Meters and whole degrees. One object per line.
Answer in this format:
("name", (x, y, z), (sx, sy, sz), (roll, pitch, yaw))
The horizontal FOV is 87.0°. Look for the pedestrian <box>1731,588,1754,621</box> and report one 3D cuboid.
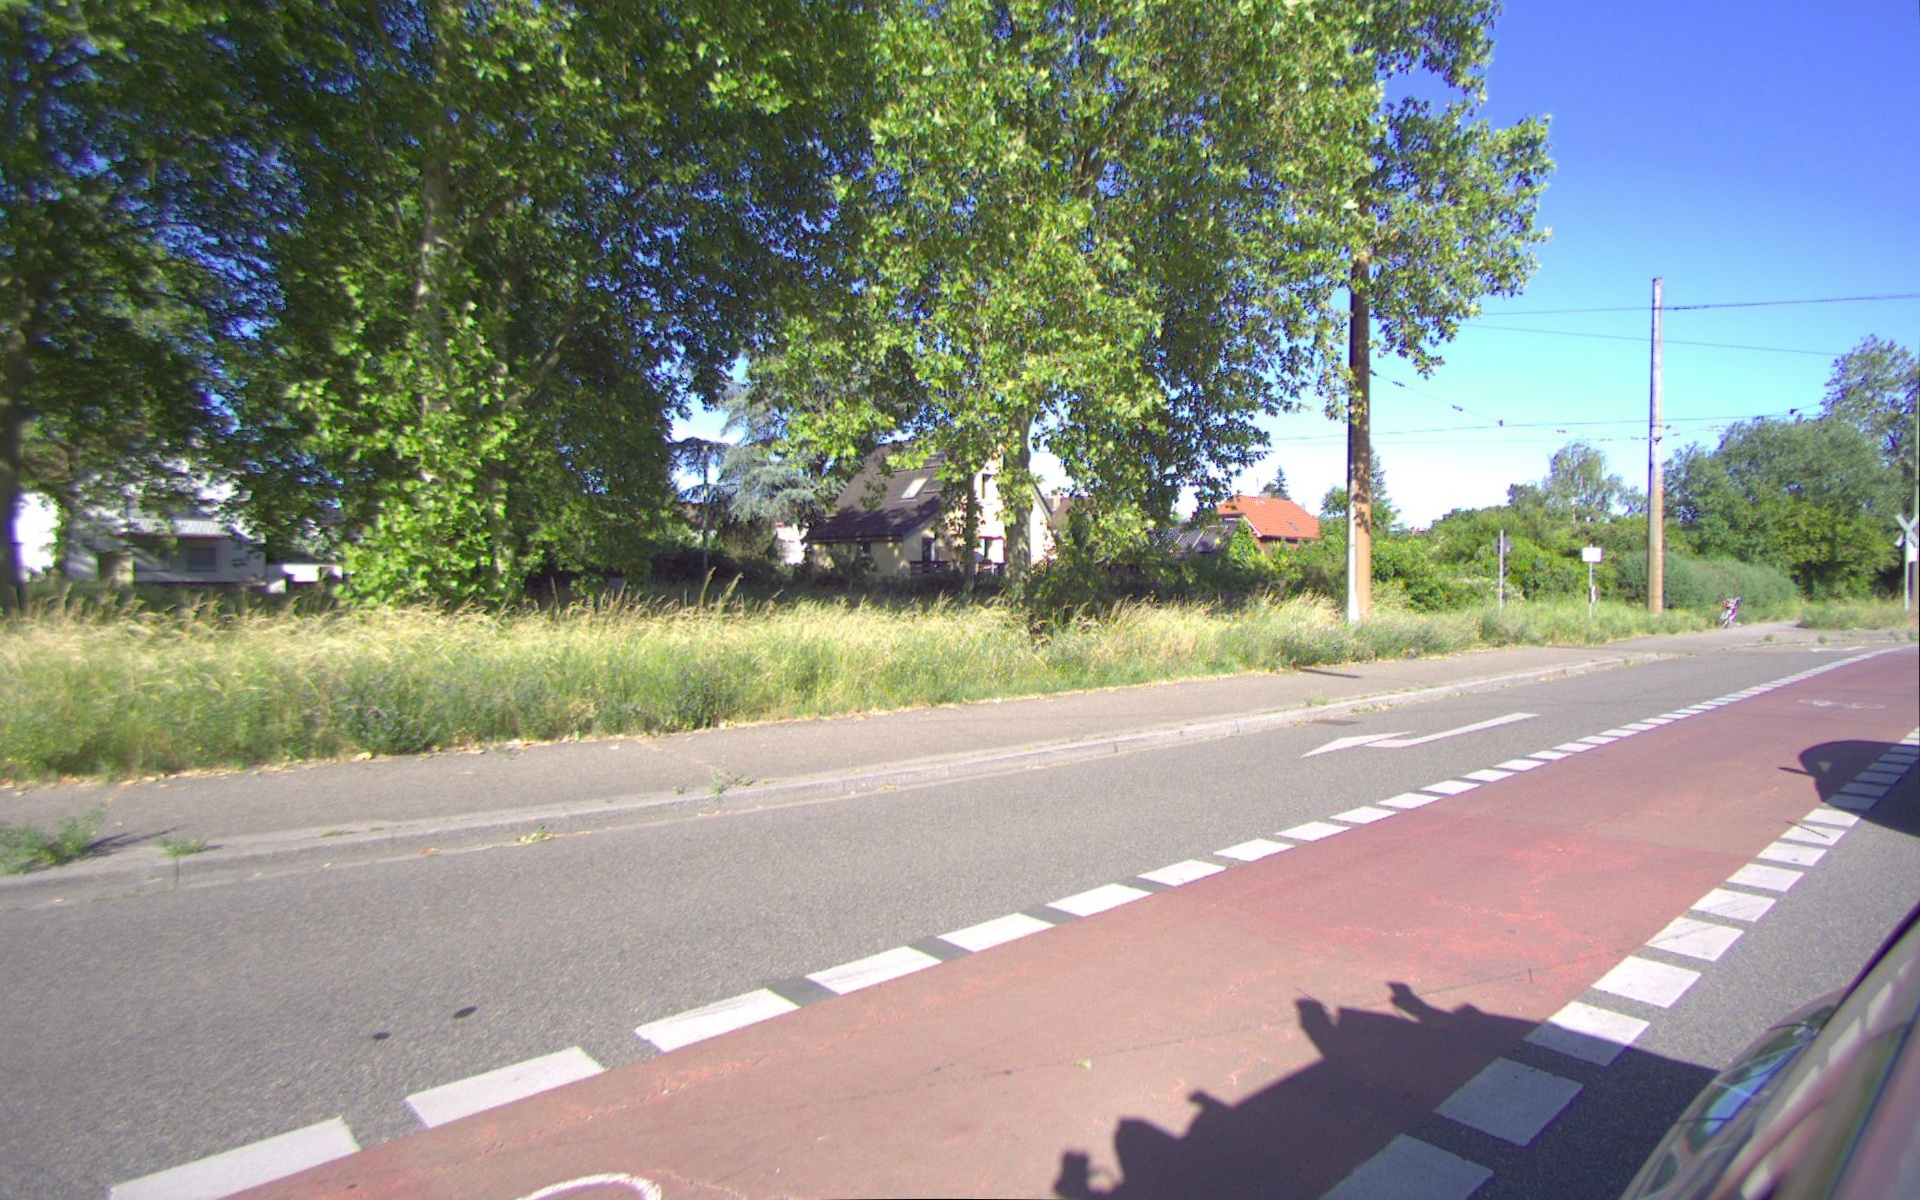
("pedestrian", (24.779, 0.138, 32.061), (0.446, 1.046, 0.482), (0, 1, -41))
